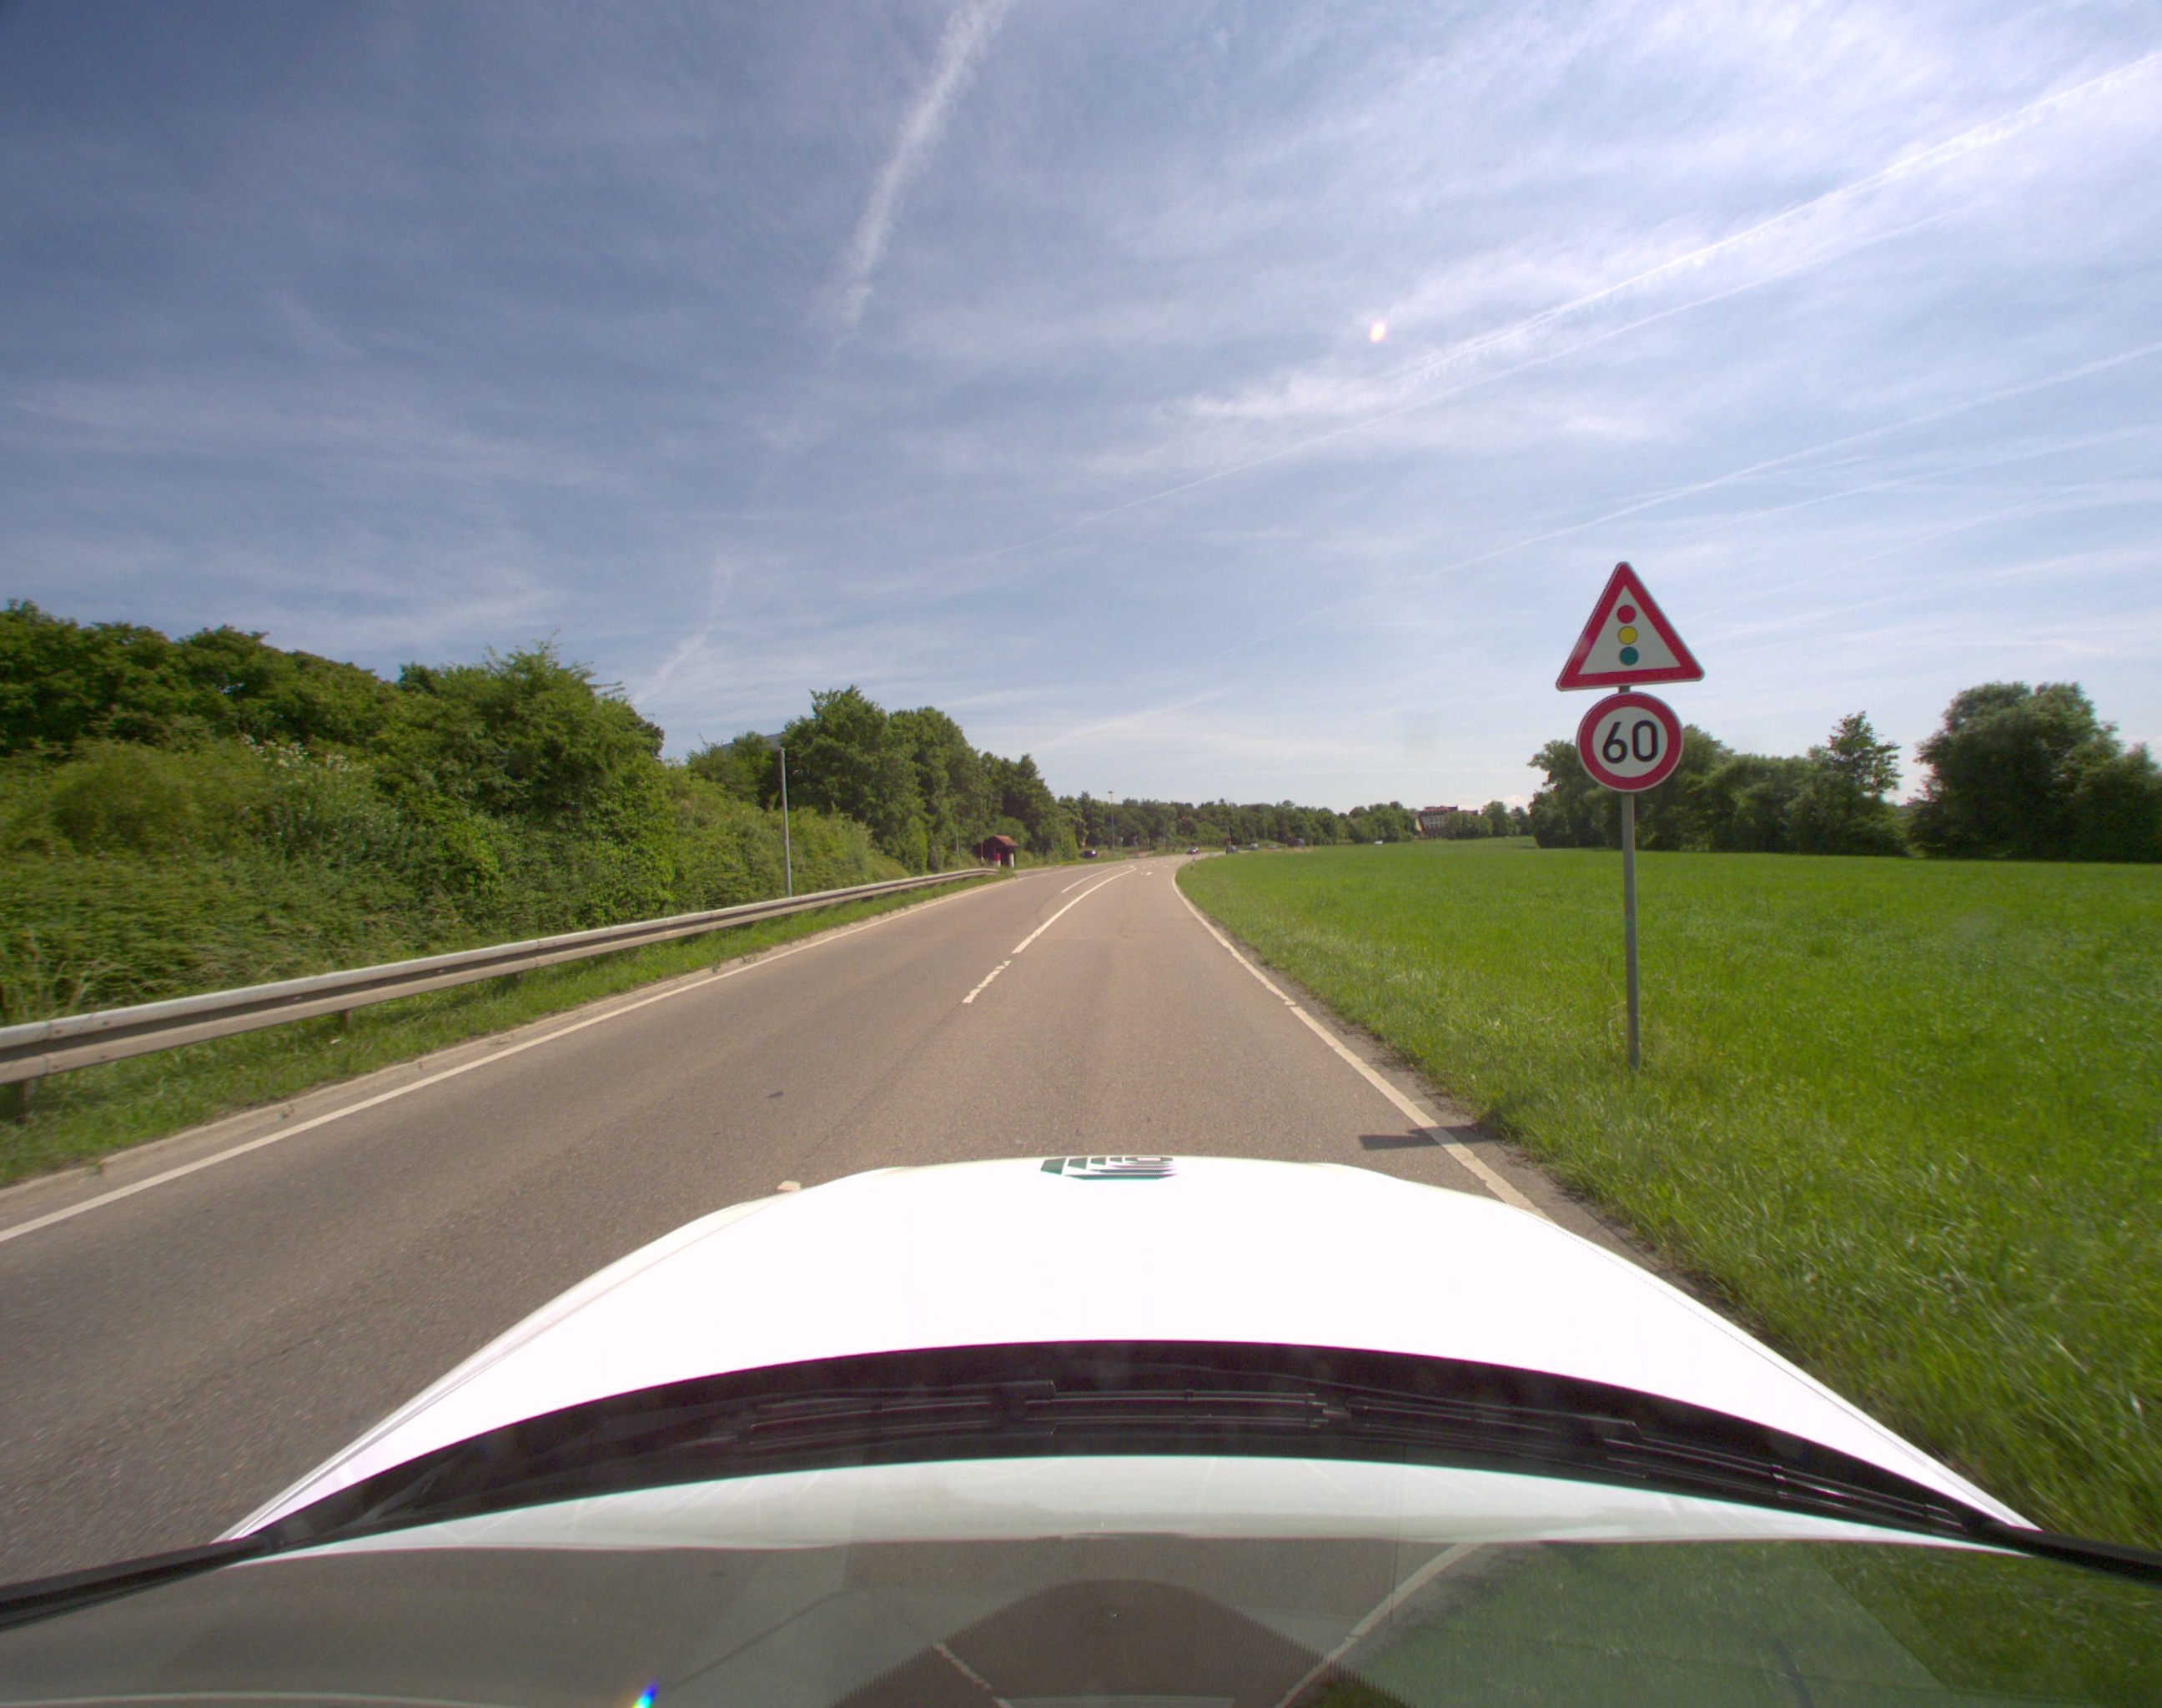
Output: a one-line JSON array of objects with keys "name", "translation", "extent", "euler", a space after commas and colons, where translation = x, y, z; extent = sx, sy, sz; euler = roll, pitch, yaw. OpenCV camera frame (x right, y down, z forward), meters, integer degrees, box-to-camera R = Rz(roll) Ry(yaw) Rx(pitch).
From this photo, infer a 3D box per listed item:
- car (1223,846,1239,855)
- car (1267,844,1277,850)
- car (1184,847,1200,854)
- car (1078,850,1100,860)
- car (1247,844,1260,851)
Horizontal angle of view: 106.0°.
[{"name": "car", "translation": [28.954, -0.715, 157.231], "extent": [1.975, 1.574, 4.024], "euler": [-1, 0, 26]}, {"name": "car", "translation": [51.832, -1.962, 221.317], "extent": [1.691, 1.483, 3.855], "euler": [-1, 0, 28]}, {"name": "car", "translation": [21.584, -0.689, 157.798], "extent": [1.775, 1.474, 4.336], "euler": [-1, 0, 25]}, {"name": "car", "translation": [1.582, 0.210, 158.752], "extent": [3.948, 1.794, 2.013], "euler": [-1, 0, 37]}, {"name": "car", "translation": [43.229, -1.603, 203.996], "extent": [1.955, 1.562, 4.215], "euler": [-1, 0, 32]}]
